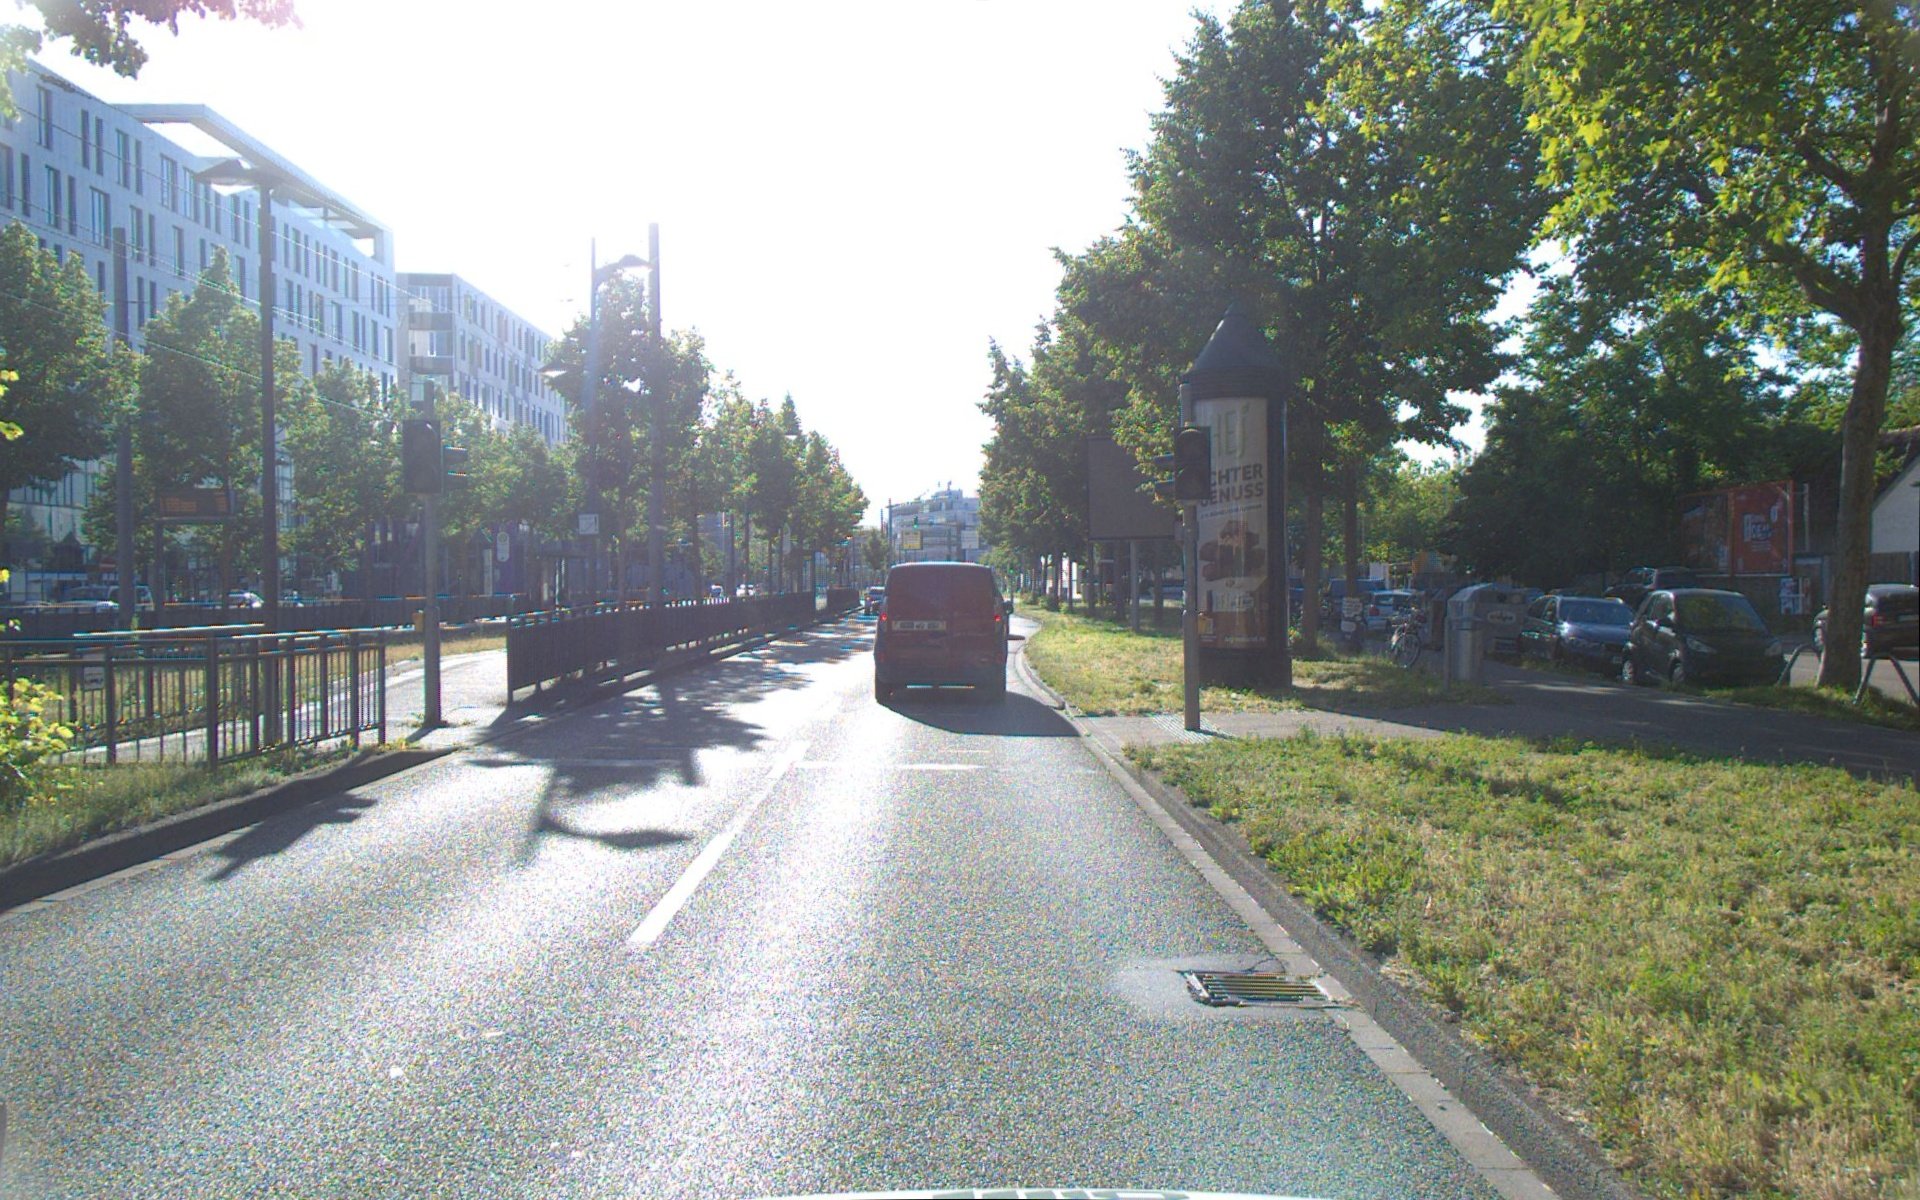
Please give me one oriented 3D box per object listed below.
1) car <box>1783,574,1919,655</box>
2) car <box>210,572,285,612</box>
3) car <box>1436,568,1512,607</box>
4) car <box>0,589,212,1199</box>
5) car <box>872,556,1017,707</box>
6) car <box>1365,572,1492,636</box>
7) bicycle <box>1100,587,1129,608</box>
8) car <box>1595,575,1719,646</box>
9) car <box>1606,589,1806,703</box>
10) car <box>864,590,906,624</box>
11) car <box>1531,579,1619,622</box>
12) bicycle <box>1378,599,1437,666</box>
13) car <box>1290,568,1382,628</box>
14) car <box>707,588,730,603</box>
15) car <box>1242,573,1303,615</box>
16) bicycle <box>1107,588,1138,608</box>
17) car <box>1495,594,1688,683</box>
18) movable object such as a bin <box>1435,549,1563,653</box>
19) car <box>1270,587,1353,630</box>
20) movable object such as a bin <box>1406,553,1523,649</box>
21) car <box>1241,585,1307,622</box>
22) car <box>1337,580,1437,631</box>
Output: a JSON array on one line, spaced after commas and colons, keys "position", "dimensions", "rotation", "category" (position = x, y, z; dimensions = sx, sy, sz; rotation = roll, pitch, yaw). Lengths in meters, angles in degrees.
[{"position": [20.699, 0.303, 37.590], "dimensions": [1.953, 1.668, 4.000], "rotation": [-3, 0, 0], "category": "car"}, {"position": [-38.110, -0.424, 88.571], "dimensions": [1.952, 2.049, 4.563], "rotation": [1, 0, 0], "category": "car"}, {"position": [22.216, -0.533, 71.603], "dimensions": [1.833, 1.573, 4.691], "rotation": [-2, 0, 1], "category": "car"}, {"position": [-2.654, 0.749, 1.160], "dimensions": [1.913, 1.506, 5.085], "rotation": [1, 1, 0], "category": "car"}, {"position": [-0.298, 0.398, 22.807], "dimensions": [1.773, 1.870, 3.997], "rotation": [1, 0, -4], "category": "car"}, {"position": [12.223, 0.110, 43.520], "dimensions": [1.833, 1.551, 5.055], "rotation": [1, 0, -1], "category": "car"}, {"position": [9.680, -0.138, 103.518], "dimensions": [1.742, 1.290, 0.479], "rotation": [1, 0, 0], "category": "bicycle"}, {"position": [21.400, 0.313, 50.999], "dimensions": [1.833, 2.037, 4.691], "rotation": [-2, 0, 1], "category": "car"}, {"position": [10.751, 0.628, 24.036], "dimensions": [1.627, 1.527, 2.990], "rotation": [1, 0, 2], "category": "car"}, {"position": [-3.809, 0.346, 84.653], "dimensions": [1.953, 1.646, 3.999], "rotation": [1, 0, -1], "category": "car"}, {"position": [21.741, 0.023, 58.646], "dimensions": [1.695, 1.395, 4.315], "rotation": [-3, 0, 3], "category": "car"}, {"position": [7.455, 0.524, 27.600], "dimensions": [0.482, 1.065, 1.904], "rotation": [1, 0, 1], "category": "bicycle"}, {"position": [12.309, -0.051, 54.423], "dimensions": [1.833, 1.852, 4.892], "rotation": [1, 0, -1], "category": "car"}, {"position": [-29.628, -0.501, 203.070], "dimensions": [1.952, 1.795, 4.002], "rotation": [1, 0, 3], "category": "car"}, {"position": [13.498, -0.257, 71.595], "dimensions": [1.833, 1.713, 3.999], "rotation": [1, 0, -1], "category": "car"}, {"position": [10.077, -0.123, 102.840], "dimensions": [1.878, 1.290, 0.479], "rotation": [0, 0, 0], "category": "bicycle"}, {"position": [11.100, 0.636, 29.425], "dimensions": [1.957, 1.408, 4.747], "rotation": [1, 0, 5], "category": "car"}, {"position": [11.174, 0.023, 34.416], "dimensions": [2.038, 2.049, 2.137], "rotation": [1, 0, 3], "category": "movable object such as a bin"}, {"position": [12.563, 0.298, 59.397], "dimensions": [1.833, 1.459, 4.901], "rotation": [1, 0, -1], "category": "car"}, {"position": [11.310, 0.020, 37.181], "dimensions": [2.038, 2.049, 2.137], "rotation": [1, 0, 3], "category": "movable object such as a bin"}, {"position": [12.591, 0.143, 66.482], "dimensions": [1.833, 1.391, 3.999], "rotation": [1, 0, -1], "category": "car"}, {"position": [12.431, 0.150, 48.422], "dimensions": [1.833, 1.413, 3.999], "rotation": [1, 0, -1], "category": "car"}]
